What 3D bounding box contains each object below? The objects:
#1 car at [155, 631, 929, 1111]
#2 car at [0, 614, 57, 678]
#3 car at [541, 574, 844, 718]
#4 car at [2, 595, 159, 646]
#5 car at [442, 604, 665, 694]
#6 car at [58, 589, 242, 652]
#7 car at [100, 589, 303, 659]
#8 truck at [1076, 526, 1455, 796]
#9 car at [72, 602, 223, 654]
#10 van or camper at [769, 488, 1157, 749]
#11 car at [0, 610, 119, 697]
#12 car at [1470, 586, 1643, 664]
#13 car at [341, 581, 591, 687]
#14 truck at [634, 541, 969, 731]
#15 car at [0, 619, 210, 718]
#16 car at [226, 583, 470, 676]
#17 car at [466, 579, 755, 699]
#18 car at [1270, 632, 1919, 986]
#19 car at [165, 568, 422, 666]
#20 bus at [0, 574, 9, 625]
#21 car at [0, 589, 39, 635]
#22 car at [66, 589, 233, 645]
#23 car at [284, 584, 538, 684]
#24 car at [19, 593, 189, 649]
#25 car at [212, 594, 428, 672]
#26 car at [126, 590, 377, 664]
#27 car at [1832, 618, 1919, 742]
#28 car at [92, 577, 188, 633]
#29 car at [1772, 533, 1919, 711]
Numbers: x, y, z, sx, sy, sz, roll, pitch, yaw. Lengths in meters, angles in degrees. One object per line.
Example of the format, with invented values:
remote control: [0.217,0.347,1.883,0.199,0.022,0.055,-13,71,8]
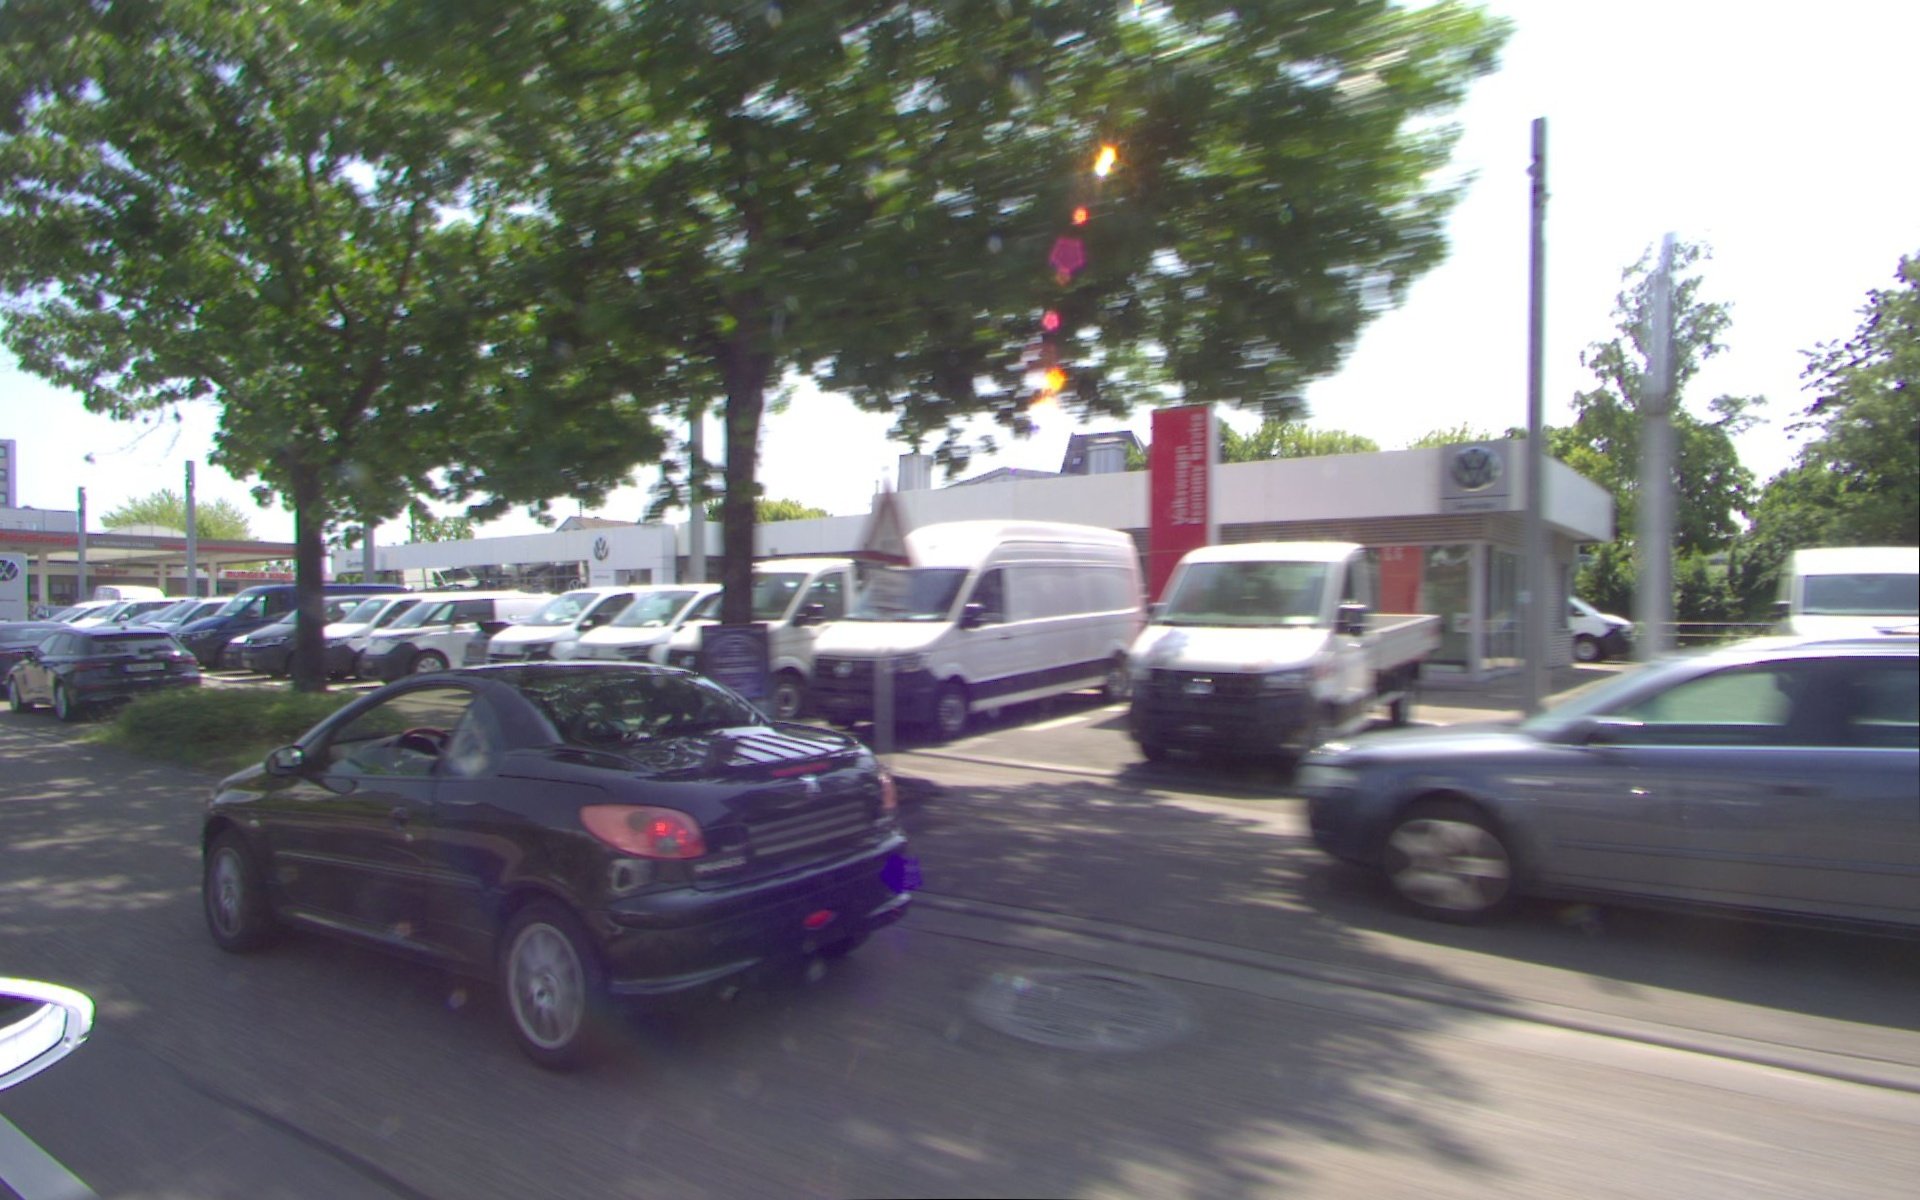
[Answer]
car: [-2.085,0.892,4.741,3.608,1.443,1.597,0,-2,32]
car: [-24.411,1.089,24.787,5.084,1.500,1.850,0,-1,33]
car: [-4.451,0.702,17.458,2.130,2.141,4.934,0,0,35]
car: [-34.894,0.785,39.831,1.883,1.907,4.399,0,0,35]
car: [-8.369,0.930,20.975,1.885,1.491,4.016,1,3,29]
car: [-28.244,0.642,35.067,1.933,2.041,4.626,1,2,34]
car: [-24.066,0.766,31.935,1.977,2.010,4.772,3,0,36]
truck: [3.979,0.503,11.957,2.338,2.368,6.222,1,1,37]
car: [-26.583,0.926,32.847,1.697,1.590,3.613,0,-2,41]
van or camper: [0.452,0.221,14.737,2.245,2.936,6.776,0,0,35]
car: [-19.770,1.036,21.093,5.093,1.551,1.953,0,2,36]
car: [16.452,0.742,27.726,3.945,1.994,1.944,-2,-3,33]
car: [-10.957,0.676,22.521,2.170,2.041,4.491,-1,1,37]
truck: [-2.254,0.447,15.771,2.084,2.468,5.227,0,1,37]
car: [-14.590,1.068,16.957,4.378,1.454,1.677,-1,0,34]
car: [-15.455,0.635,25.586,2.100,2.143,4.884,1,1,35]
car: [-6.493,0.635,19.188,2.114,1.997,4.896,0,0,36]
car: [3.968,0.890,5.086,4.262,1.424,1.793,-1,-2,35]
car: [-19.159,0.573,29.096,2.178,2.555,5.822,-2,-3,38]
bus: [-64.490,-0.158,64.938,12.136,3.119,2.792,1,0,40]
car: [-45.155,0.552,46.904,5.092,2.049,1.988,0,-2,36]
car: [-28.092,0.565,34.840,1.856,1.804,4.137,-2,0,35]
car: [-13.247,0.721,24.522,2.013,2.125,5.047,0,1,35]
car: [-32.317,0.763,37.936,1.832,1.913,4.542,-2,0,35]
car: [-17.249,0.808,27.206,1.925,1.876,4.553,1,1,35]
car: [-21.435,0.862,30.590,2.231,2.039,5.872,-1,-2,38]
car: [13.566,0.962,12.190,4.263,1.527,1.825,-2,-3,37]
car: [-42.197,0.233,51.457,6.926,2.711,2.248,0,1,37]
car: [15.148,0.421,16.901,2.012,2.568,5.265,-2,-3,37]
